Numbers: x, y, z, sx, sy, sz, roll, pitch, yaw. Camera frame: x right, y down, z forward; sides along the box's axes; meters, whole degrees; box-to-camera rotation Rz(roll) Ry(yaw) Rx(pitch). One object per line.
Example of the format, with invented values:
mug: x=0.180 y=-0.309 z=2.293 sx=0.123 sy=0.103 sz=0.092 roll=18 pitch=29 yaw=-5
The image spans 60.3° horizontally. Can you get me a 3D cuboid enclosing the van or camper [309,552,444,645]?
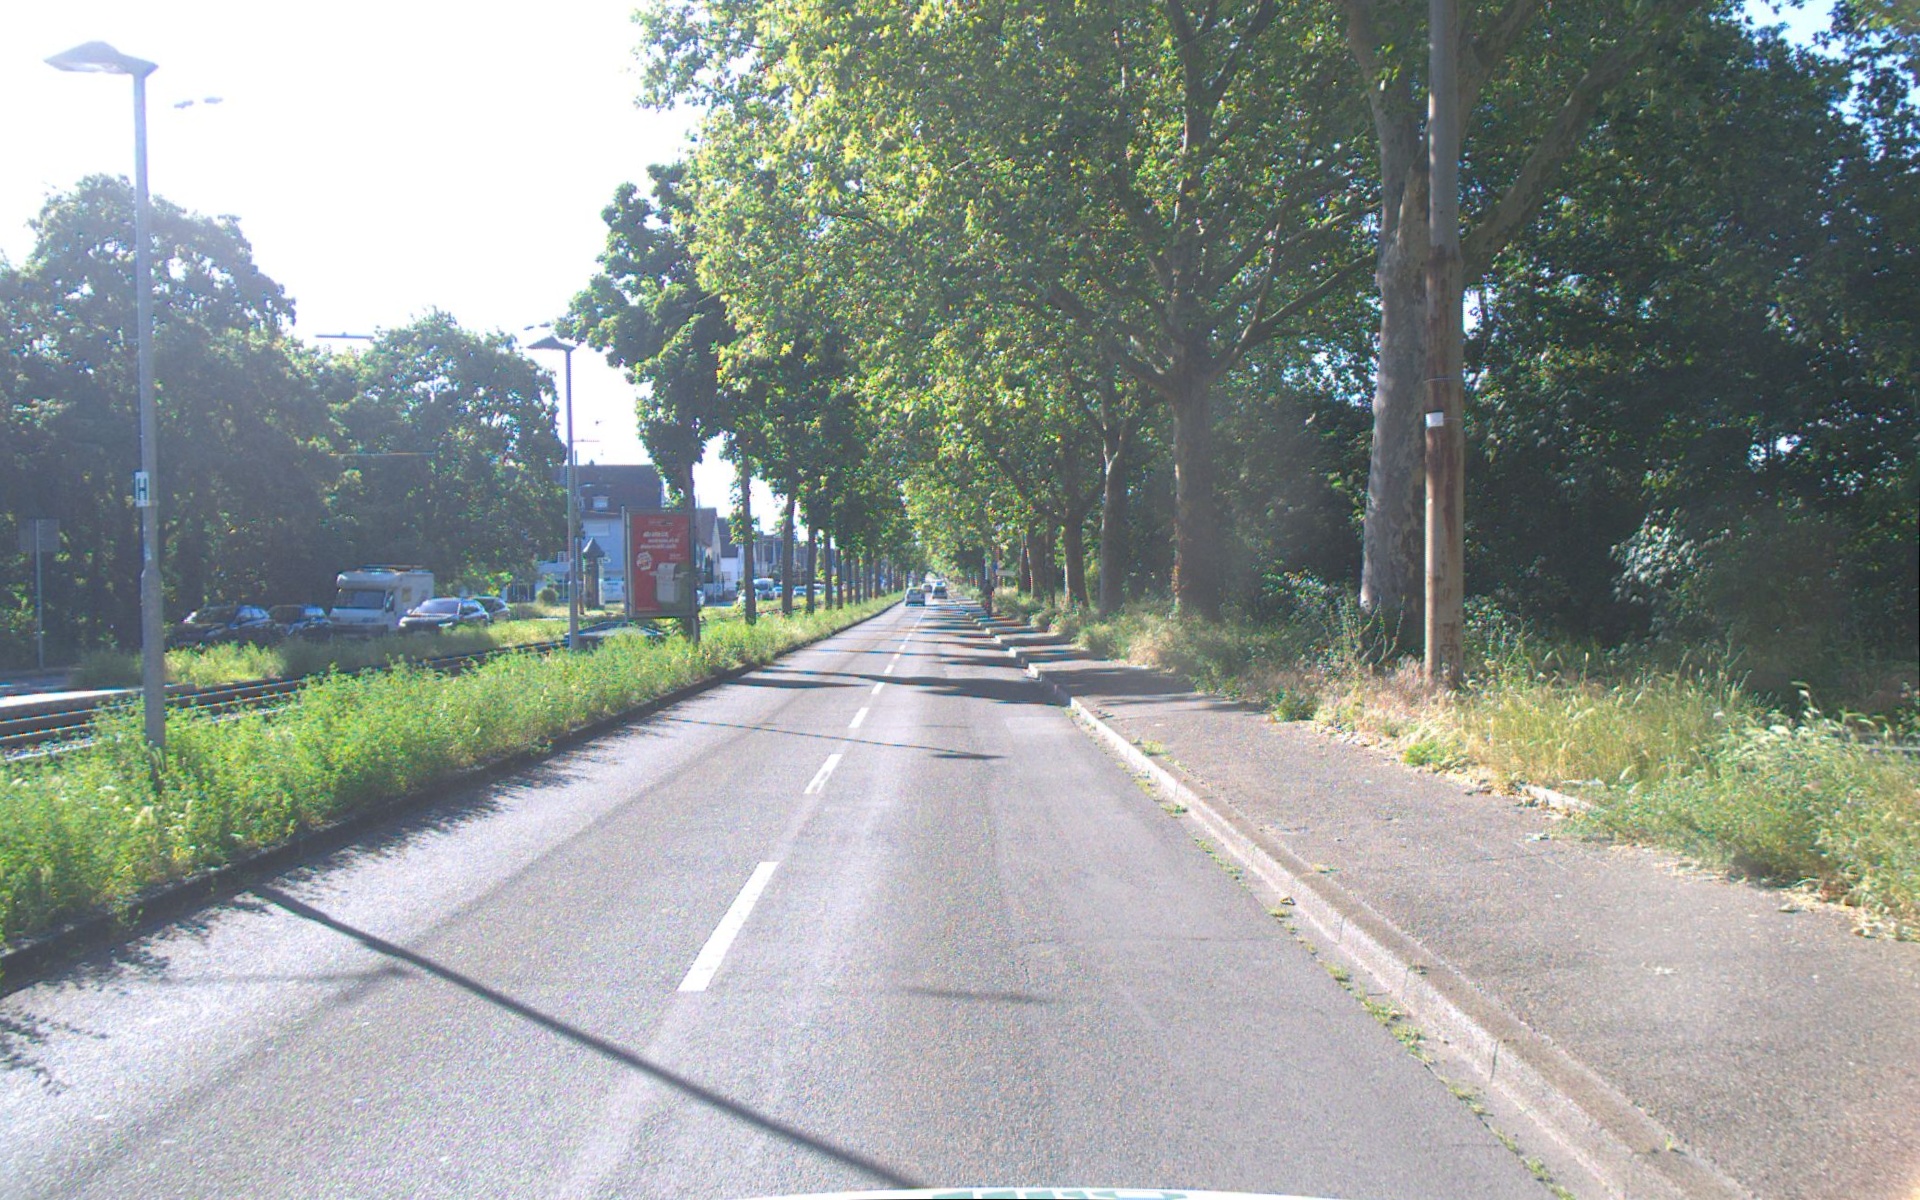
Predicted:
van or camper: x=-21.336 y=-0.098 z=60.876 sx=2.537 sy=3.160 sz=6.787 roll=-2 pitch=1 yaw=-1

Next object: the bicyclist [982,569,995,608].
bicyclist: x=1.341 y=-0.538 z=77.295 sx=0.523 sy=1.800 sz=0.713 roll=-2 pitch=0 yaw=-3

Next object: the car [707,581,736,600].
car: x=-22.069 y=-0.873 z=153.160 sx=1.952 sy=1.671 sz=4.001 roll=-2 pitch=1 yaw=2

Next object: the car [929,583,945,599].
car: x=-2.523 y=-0.995 z=183.171 sx=1.715 sy=1.632 sz=3.750 roll=-1 pitch=1 yaw=-1

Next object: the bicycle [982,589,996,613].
bicycle: x=1.360 y=0.037 z=77.234 sx=0.525 sy=1.085 sz=1.433 roll=-2 pitch=1 yaw=-2

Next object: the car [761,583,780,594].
car: x=-22.724 y=-1.361 z=198.220 sx=1.882 sy=1.288 sz=3.999 roll=-2 pitch=1 yaw=-1

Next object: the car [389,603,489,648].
car: x=-16.878 y=0.794 z=53.761 sx=1.881 sy=1.288 sz=4.001 roll=-2 pitch=1 yaw=1

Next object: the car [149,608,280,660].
car: x=-21.583 y=0.959 z=48.066 sx=1.881 sy=1.288 sz=4.001 roll=-2 pitch=1 yaw=1

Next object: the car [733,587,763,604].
car: x=-17.979 y=-0.394 z=140.464 sx=1.881 sy=1.288 sz=4.001 roll=-2 pitch=1 yaw=1

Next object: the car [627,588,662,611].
car: x=-22.324 y=-0.064 z=117.116 sx=1.708 sy=1.522 sz=3.592 roll=-2 pitch=1 yaw=1

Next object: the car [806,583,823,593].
car: x=-18.784 y=-1.538 z=214.209 sx=1.882 sy=1.288 sz=3.999 roll=-2 pitch=1 yaw=-1

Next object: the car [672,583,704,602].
car: x=-22.831 y=-0.636 z=138.876 sx=1.881 sy=1.463 sz=4.001 roll=-2 pitch=1 yaw=1

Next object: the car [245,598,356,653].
car: x=-21.390 y=0.796 z=53.845 sx=1.881 sy=1.589 sz=4.001 roll=-2 pitch=1 yaw=1

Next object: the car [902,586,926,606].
car: x=-3.730 y=-0.346 z=134.387 sx=1.829 sy=1.512 sz=3.555 roll=-1 pitch=1 yaw=0

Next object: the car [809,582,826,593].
car: x=-18.591 y=-1.640 z=215.889 sx=1.882 sy=1.288 sz=3.999 roll=-2 pitch=1 yaw=-1

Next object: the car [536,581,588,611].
car: x=-22.379 y=-0.251 z=93.156 sx=1.881 sy=1.604 sz=4.001 roll=-2 pitch=1 yaw=1
